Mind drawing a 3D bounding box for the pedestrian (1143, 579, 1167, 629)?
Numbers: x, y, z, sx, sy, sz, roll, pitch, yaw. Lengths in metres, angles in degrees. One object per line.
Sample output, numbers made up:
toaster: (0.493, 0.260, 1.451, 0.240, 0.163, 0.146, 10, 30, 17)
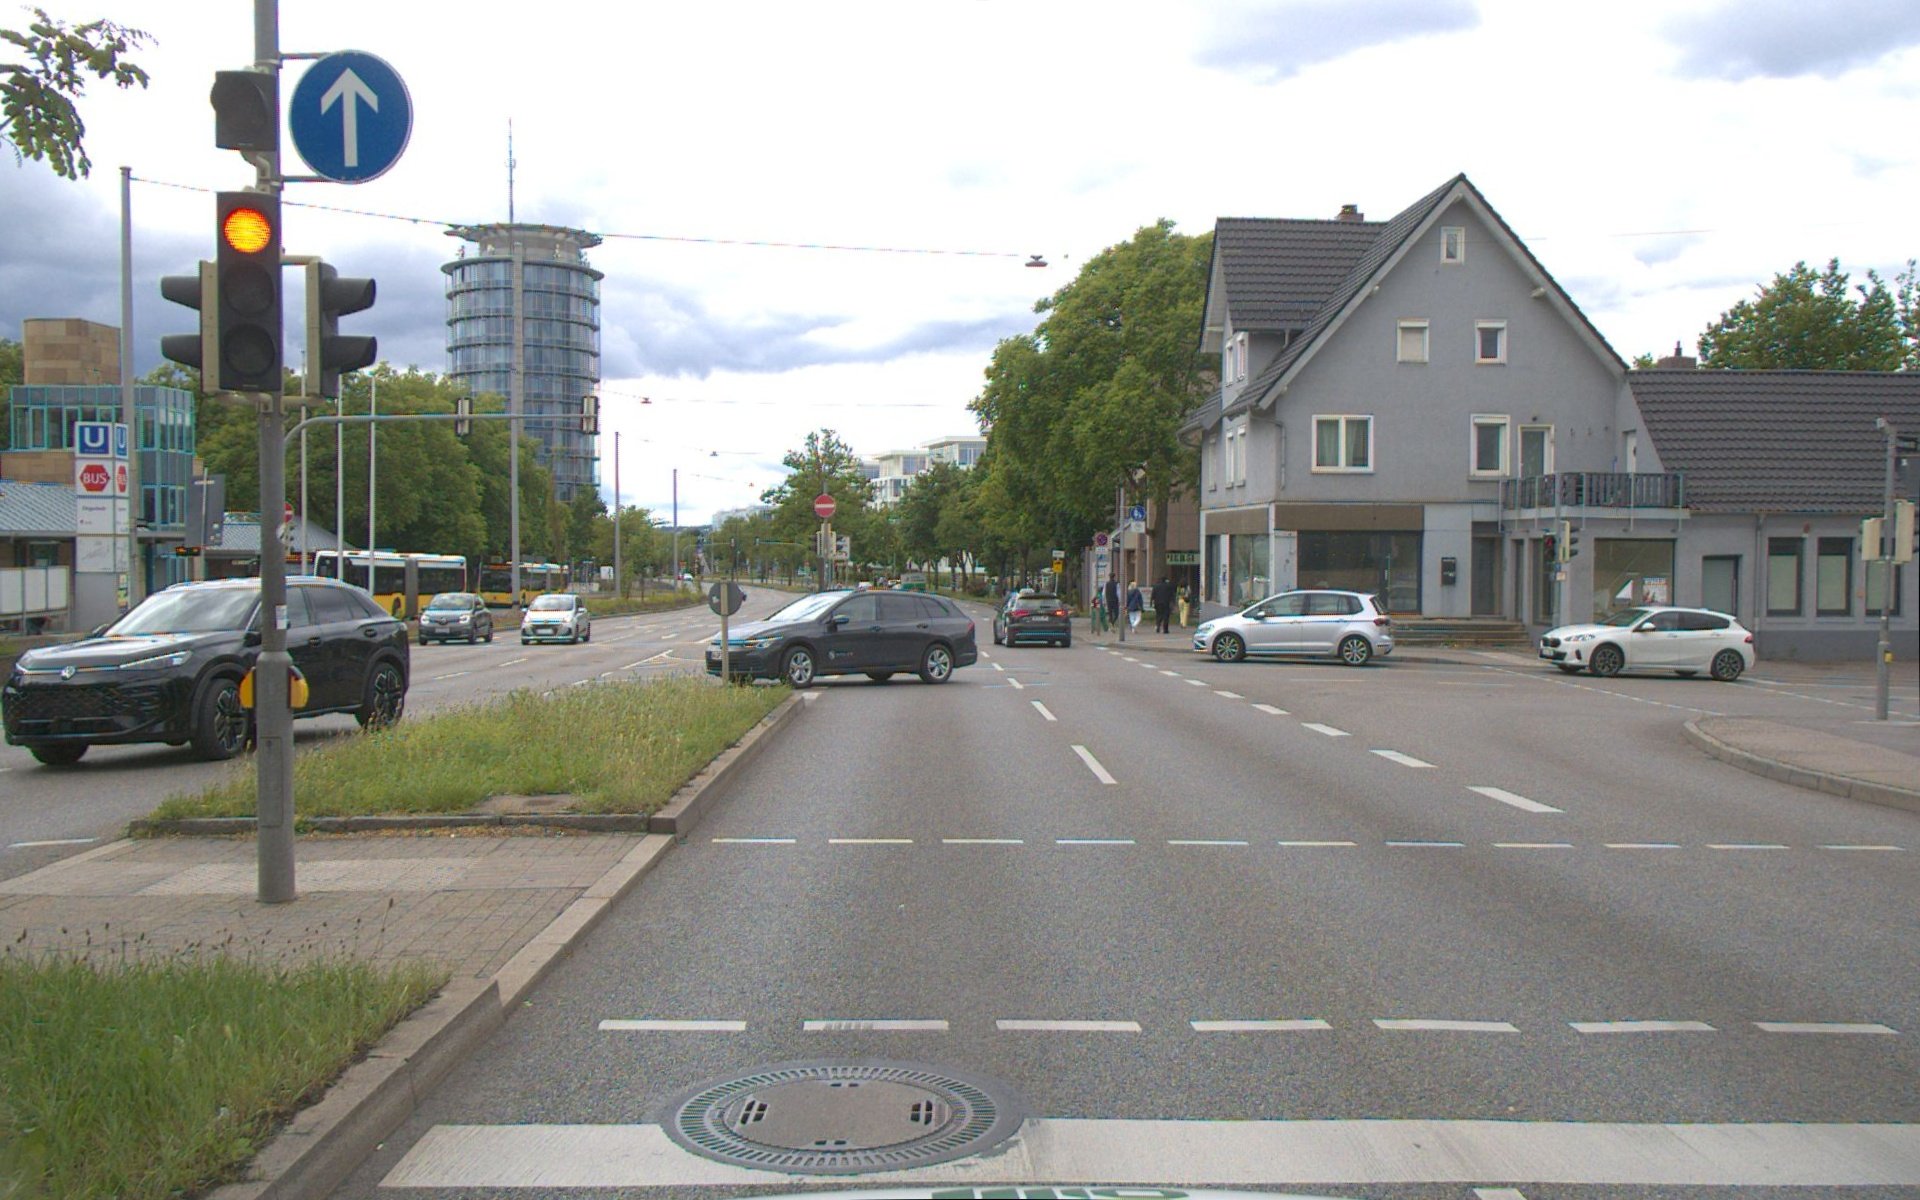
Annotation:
pedestrian: (6.653, 0.132, 56.324, 0.691, 1.691, 0.870, -1, 0, 0)

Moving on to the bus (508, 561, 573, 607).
bus: (-31.143, -1.139, 123.013, 3.081, 3.281, 7.762, 0, 0, -2)

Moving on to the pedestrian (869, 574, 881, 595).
pedestrian: (-10.213, -1.861, 198.782, 1.210, 2.444, 1.306, 0, 0, -10)

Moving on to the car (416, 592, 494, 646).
car: (-15.473, 0.561, 50.815, 1.652, 1.606, 3.344, 0, 0, -6)

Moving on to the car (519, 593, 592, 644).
car: (-12.365, 0.546, 50.727, 1.651, 1.488, 3.552, 0, 0, -5)

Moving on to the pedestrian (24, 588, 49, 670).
pedestrian: (-18.398, 0.578, 32.949, 0.414, 1.619, 0.353, 0, 0, -30)

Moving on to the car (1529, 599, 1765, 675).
car: (14.437, 0.759, 34.901, 4.161, 1.503, 1.997, 1, 0, -7)

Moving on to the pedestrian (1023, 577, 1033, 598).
pedestrian: (5.178, -0.952, 126.147, 0.638, 1.597, 0.669, 0, 0, -9)

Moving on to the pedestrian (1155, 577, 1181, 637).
pedestrian: (6.230, 0.210, 49.594, 0.690, 1.791, 1.052, 0, 0, 2)

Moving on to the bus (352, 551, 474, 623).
bus: (-26.544, -0.618, 80.720, 2.927, 3.327, 7.879, -1, 0, 3)

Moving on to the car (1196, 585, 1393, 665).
car: (7.237, 0.515, 35.676, 4.014, 1.567, 1.830, 2, 0, 15)

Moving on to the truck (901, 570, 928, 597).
truck: (-4.343, -1.541, 156.427, 2.207, 2.459, 4.927, 0, 0, -5)

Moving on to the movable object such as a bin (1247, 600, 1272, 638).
movable object such as a bin: (7.997, 0.494, 44.162, 0.518, 0.997, 0.736, 0, 0, -1)

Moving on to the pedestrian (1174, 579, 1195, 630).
pedestrian: (7.601, 0.143, 55.972, 0.690, 1.691, 0.871, 0, 0, 7)

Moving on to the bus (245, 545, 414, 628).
bus: (-27.082, -0.565, 71.696, 2.927, 3.307, 10.174, -1, 0, 3)

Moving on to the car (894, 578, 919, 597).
car: (-5.396, -1.249, 165.004, 2.207, 1.787, 4.927, 0, 0, -5)

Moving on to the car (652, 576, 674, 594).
car: (-35.900, -1.839, 199.745, 1.925, 2.049, 3.999, 1, 0, -1)

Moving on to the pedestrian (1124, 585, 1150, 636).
pedestrian: (5.365, 0.311, 50.257, 0.691, 1.533, 0.870, 0, 0, 0)

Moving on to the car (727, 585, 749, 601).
car: (-21.518, -0.703, 160.240, 1.674, 1.518, 3.547, -1, 0, -15)

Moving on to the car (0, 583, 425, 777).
car: (-6.819, 0.622, 15.416, 1.796, 1.547, 4.076, 0, 1, 10)

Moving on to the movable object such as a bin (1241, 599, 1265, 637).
movable object such as a bin: (7.967, 0.487, 44.952, 0.518, 0.997, 0.736, 0, 0, -1)

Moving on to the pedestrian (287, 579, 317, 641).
pedestrian: (-20.738, 0.323, 52.131, 0.647, 1.930, 0.685, 0, 0, -1)

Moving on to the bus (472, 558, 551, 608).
bus: (-30.782, -1.123, 114.014, 3.082, 3.281, 10.279, 0, 0, -3)

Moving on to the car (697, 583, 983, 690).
car: (-1.813, 0.525, 25.789, 4.245, 1.506, 1.691, 0, 1, -39)

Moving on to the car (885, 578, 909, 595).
car: (-6.596, -1.397, 173.782, 2.207, 1.676, 4.927, 0, 0, -6)

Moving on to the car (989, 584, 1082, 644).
car: (1.986, 0.367, 44.511, 1.853, 1.521, 4.092, -1, 0, -7)

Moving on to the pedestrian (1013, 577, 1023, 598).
pedestrian: (4.415, -0.987, 126.236, 0.638, 1.597, 0.669, 0, 0, -9)

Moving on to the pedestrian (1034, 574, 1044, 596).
pedestrian: (6.020, -1.144, 126.366, 0.638, 1.597, 0.669, 0, 0, -9)

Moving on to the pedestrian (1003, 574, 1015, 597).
pedestrian: (4.445, -1.279, 150.407, 0.951, 2.049, 0.981, 1, -1, -2)

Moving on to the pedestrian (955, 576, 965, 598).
pedestrian: (-0.039, -1.432, 178.706, 0.914, 2.349, 1.008, 1, -1, -10)

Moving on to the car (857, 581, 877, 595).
car: (-9.714, -1.267, 173.025, 1.929, 1.444, 4.017, 0, 0, -6)

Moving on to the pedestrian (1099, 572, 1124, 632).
pedestrian: (4.686, 0.065, 51.068, 0.690, 1.811, 0.870, -1, 0, 1)
